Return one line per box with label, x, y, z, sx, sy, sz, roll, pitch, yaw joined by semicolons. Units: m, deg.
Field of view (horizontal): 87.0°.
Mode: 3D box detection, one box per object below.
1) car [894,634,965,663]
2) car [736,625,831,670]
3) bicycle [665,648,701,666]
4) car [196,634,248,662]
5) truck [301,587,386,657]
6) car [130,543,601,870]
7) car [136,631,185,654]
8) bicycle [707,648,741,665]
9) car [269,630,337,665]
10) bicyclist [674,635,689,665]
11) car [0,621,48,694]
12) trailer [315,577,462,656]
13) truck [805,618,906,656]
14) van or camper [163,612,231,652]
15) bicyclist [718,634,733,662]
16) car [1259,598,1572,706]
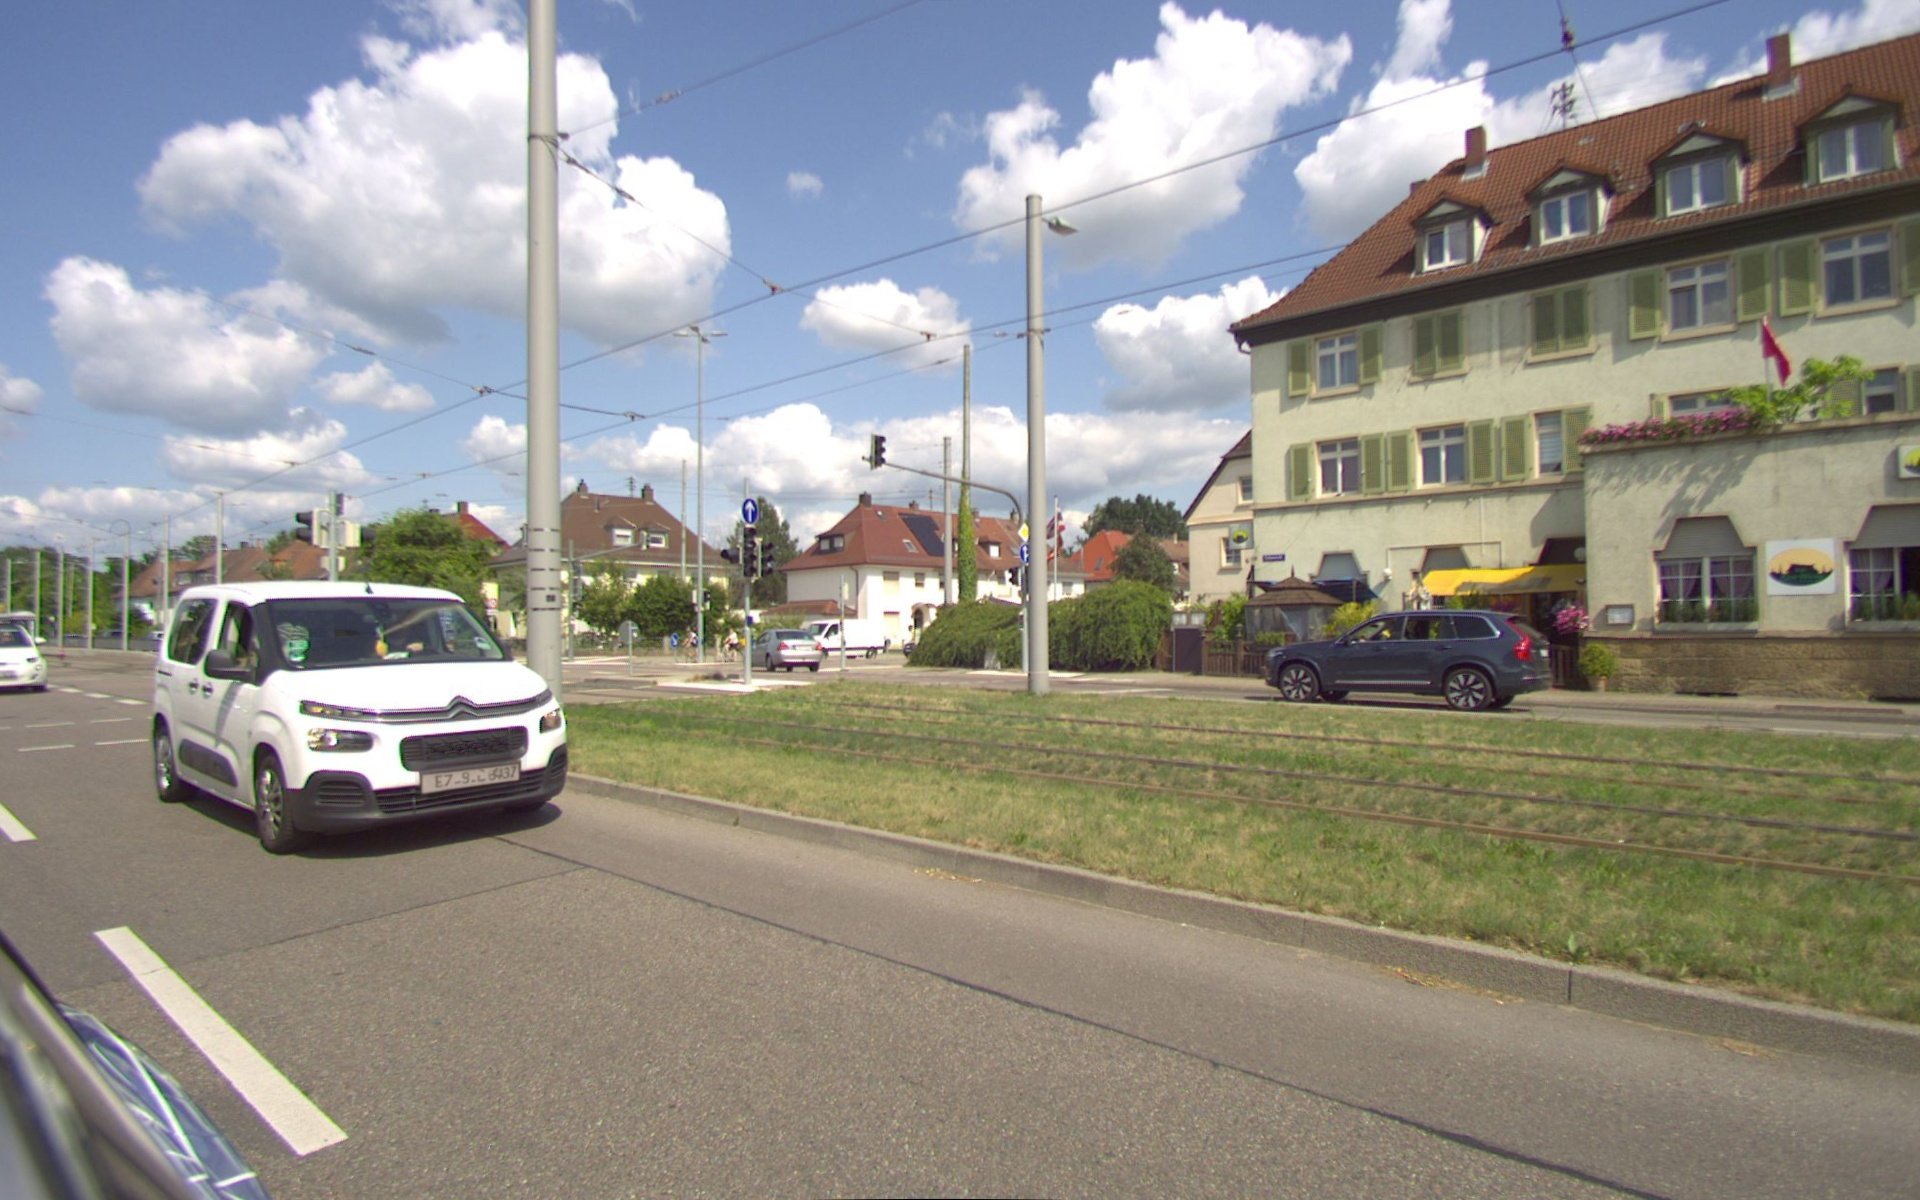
car;-1.837;2.918;61.693;2.000;1.564;4.119;-1;0;43
car;-5.987;1.570;33.873;1.769;1.397;4.485;1;-2;-28
bicycle;-14.500;2.977;52.980;0.602;0.841;1.784;-1;0;42
car;-46.712;3.005;64.028;4.470;1.649;1.775;-1;-3;43
truck;-36.001;1.377;59.040;5.664;3.851;2.572;-3;-5;41
car;-4.713;0.620;7.736;4.326;1.829;1.776;-1;0;40
car;-58.410;3.119;73.917;4.175;1.564;1.973;-1;-5;41
bicycle;-12.792;3.059;54.892;0.602;0.841;1.784;-1;0;42
car;-35.313;2.519;54.332;4.709;1.829;1.776;-1;-3;40
bicyclist;-14.567;2.622;52.909;0.602;1.509;0.494;-1;0;43
car;-21.574;1.264;22.268;3.388;1.515;1.660;-2;-1;38
trailer;-31.320;1.101;55.056;12.826;3.851;2.572;-3;-5;40
truck;-5.901;2.068;57.781;1.690;1.936;6.118;-1;0;43
van or camper;-59.352;2.475;78.667;7.743;2.952;2.302;-2;-2;38
bicyclist;-12.732;2.586;54.977;0.602;1.509;0.494;-1;0;43
car;8.284;0.910;18.684;4.932;1.725;1.994;-1;-3;40
